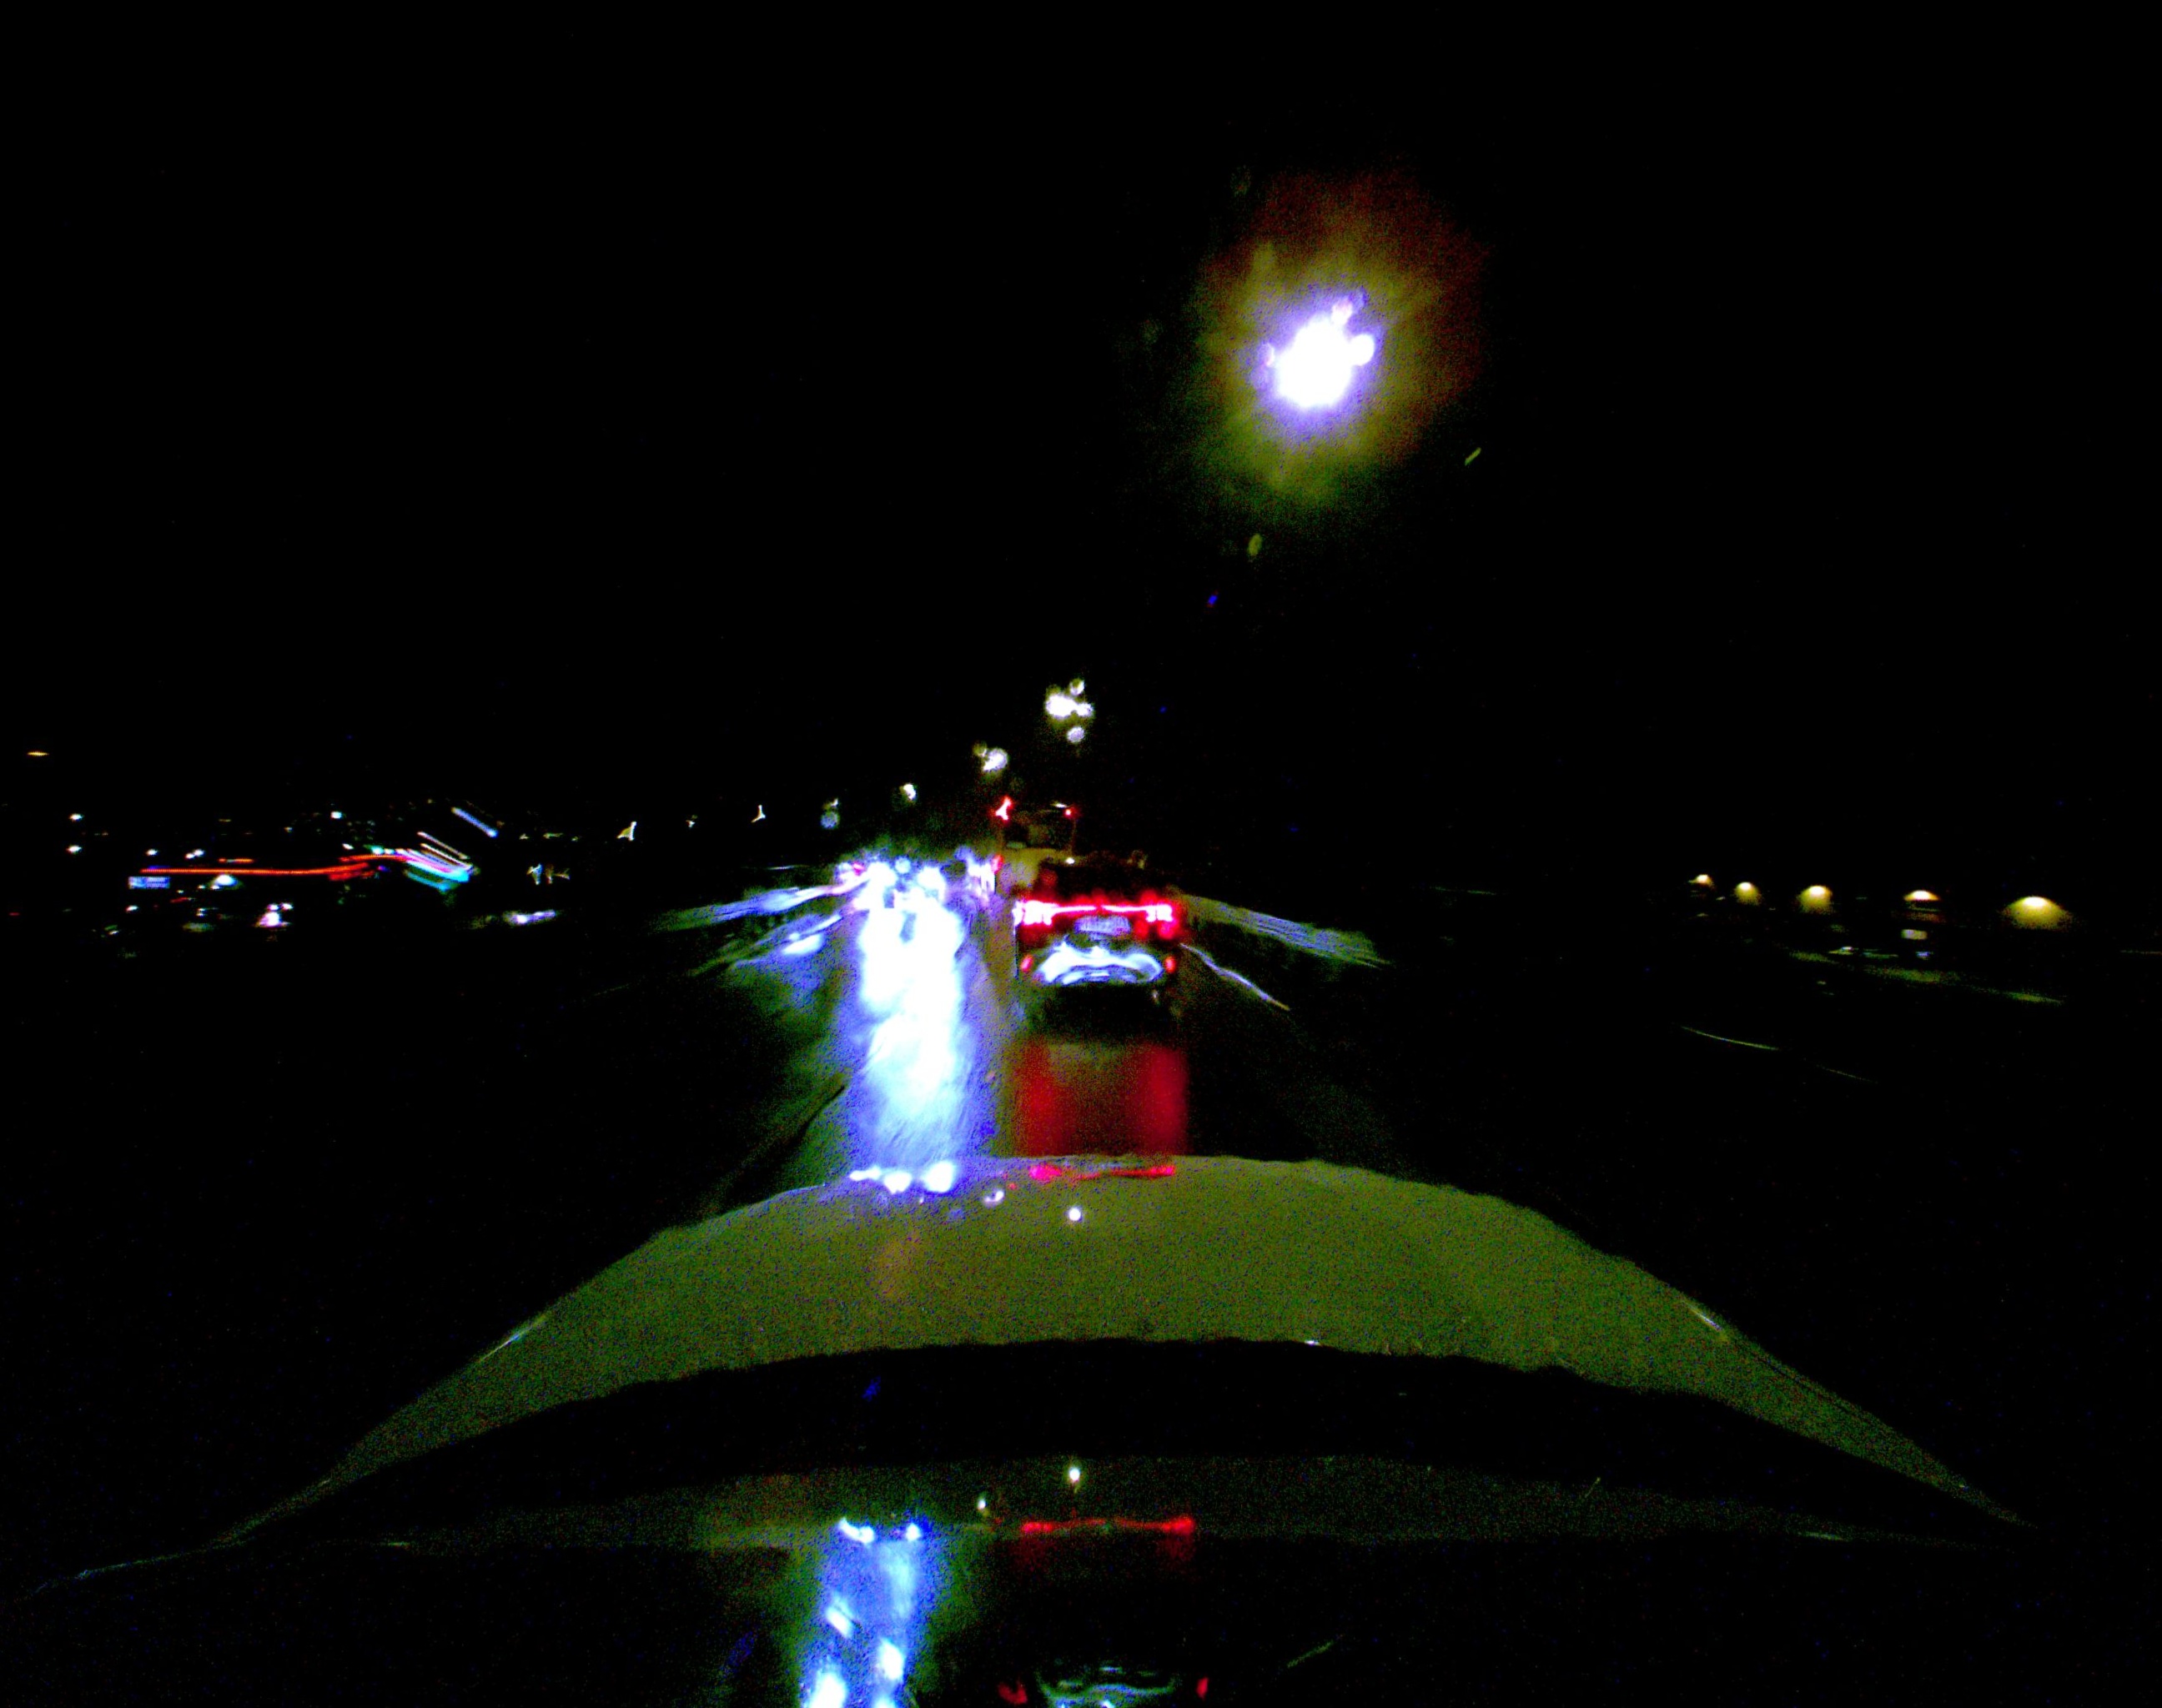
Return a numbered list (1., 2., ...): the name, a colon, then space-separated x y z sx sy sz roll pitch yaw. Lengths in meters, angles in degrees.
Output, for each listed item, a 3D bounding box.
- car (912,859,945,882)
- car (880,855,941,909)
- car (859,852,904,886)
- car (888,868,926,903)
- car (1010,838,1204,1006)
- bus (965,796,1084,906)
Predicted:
1. car: -12.063 1.328 64.444 1.644 1.656 3.678 -2 -2 -25
2. car: -5.866 0.916 28.443 1.777 1.704 4.302 -2 0 -8
3. car: -13.593 1.005 55.276 2.054 2.170 5.112 -1 -1 -25
4. car: -9.159 1.608 42.652 1.795 1.630 3.972 0 0 -15
5. car: 0.199 0.671 9.827 1.851 1.586 3.997 -1 -1 -2
6. bus: -2.502 -0.085 29.976 3.083 3.133 12.654 -1 0 -10
